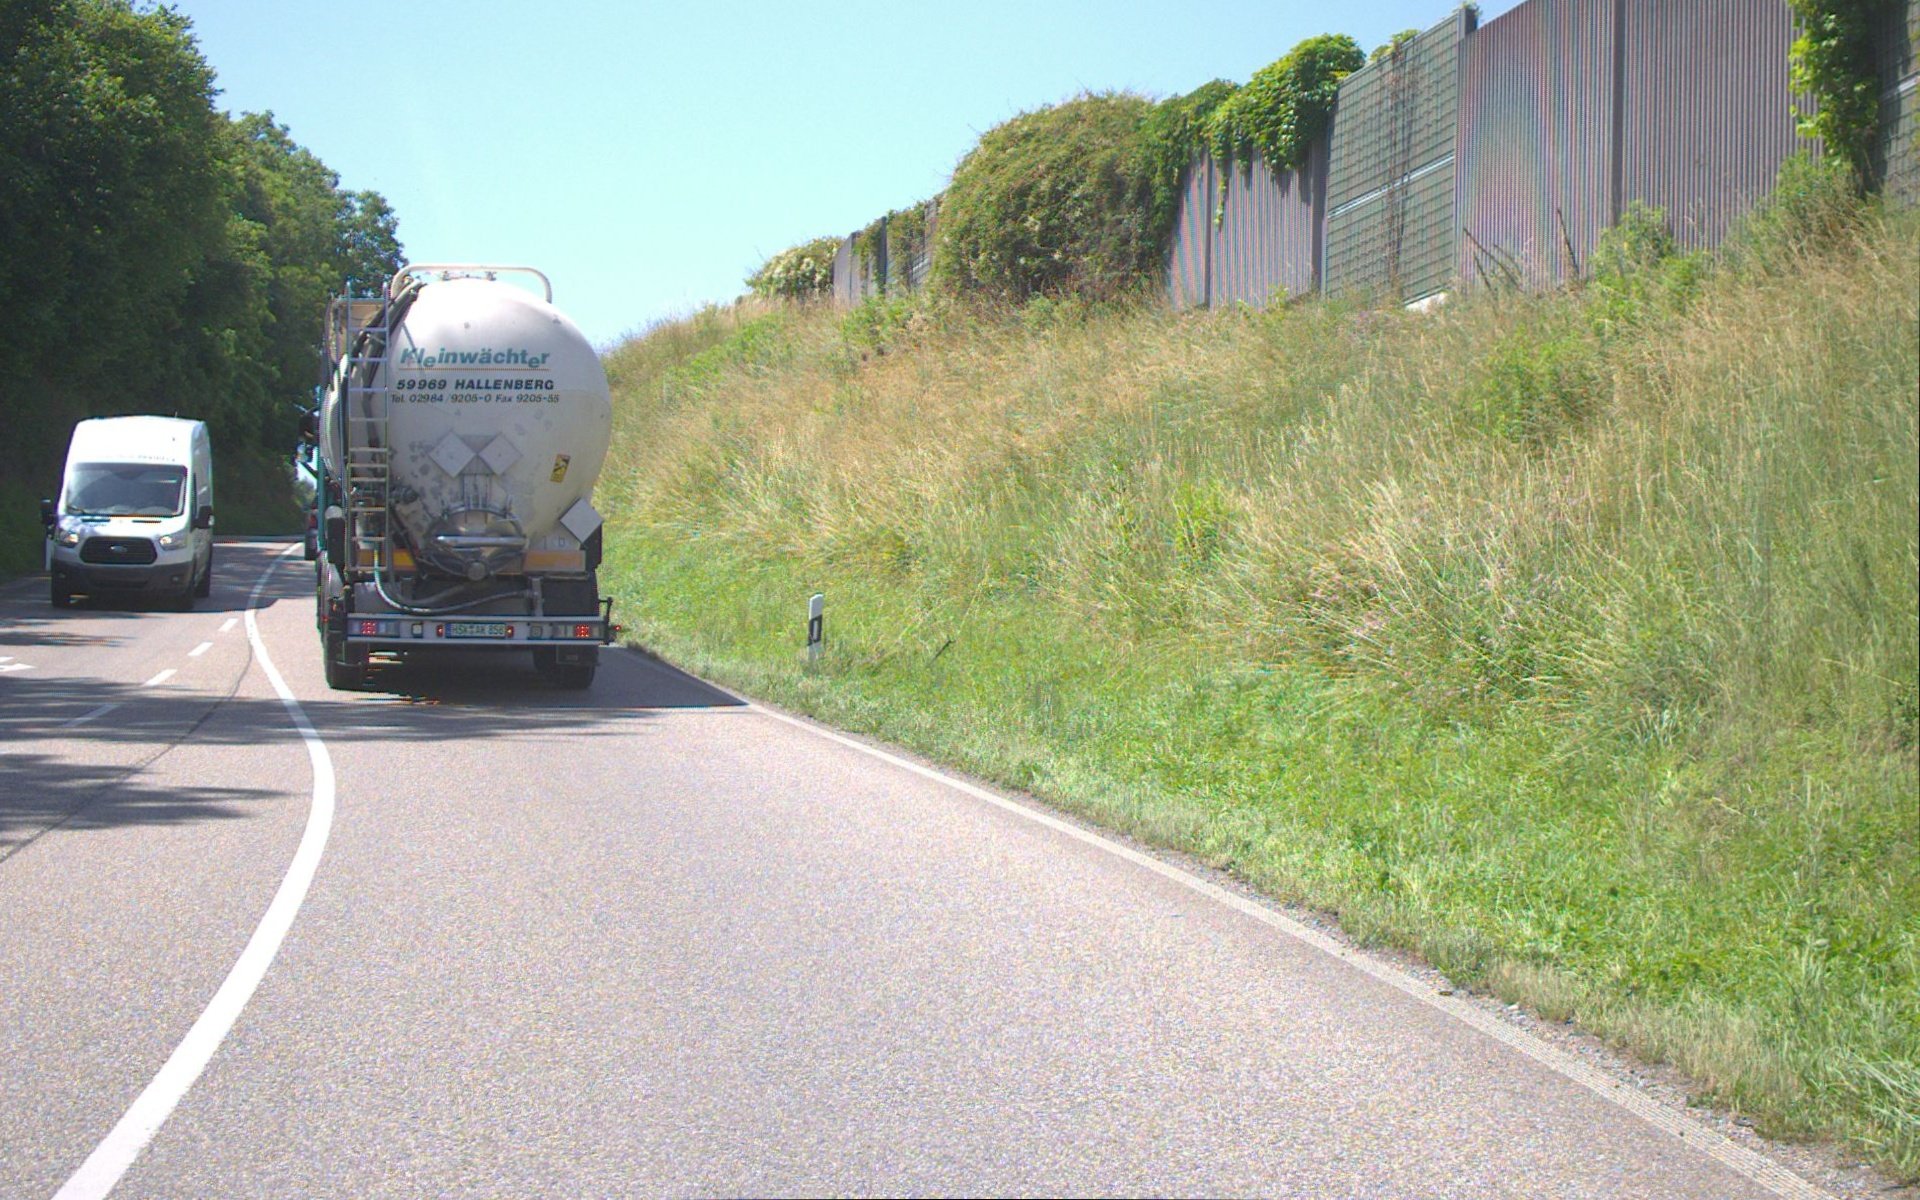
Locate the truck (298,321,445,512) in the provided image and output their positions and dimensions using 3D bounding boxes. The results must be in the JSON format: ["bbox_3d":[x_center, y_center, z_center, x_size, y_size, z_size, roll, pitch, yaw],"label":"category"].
[{"bbox_3d":[-14.716,-4.554,86.223,3.189,4.294,11.804,3,2,-9],"label":"truck"}]

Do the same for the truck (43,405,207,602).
[{"bbox_3d":[-12.334,-1.482,51.091,2.052,2.677,5.983,2,2,-11],"label":"truck"}]

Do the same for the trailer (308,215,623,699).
[{"bbox_3d":[-5.405,-1.447,35.784,2.660,4.174,11.908,0,2,-11],"label":"trailer"}]

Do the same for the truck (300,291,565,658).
[{"bbox_3d":[-6.420,-1.477,41.011,2.726,3.916,7.266,1,2,-11],"label":"truck"}]

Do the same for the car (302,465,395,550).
[{"bbox_3d":[-12.306,-1.873,69.075,1.647,1.504,3.640,2,3,-12],"label":"car"}]
